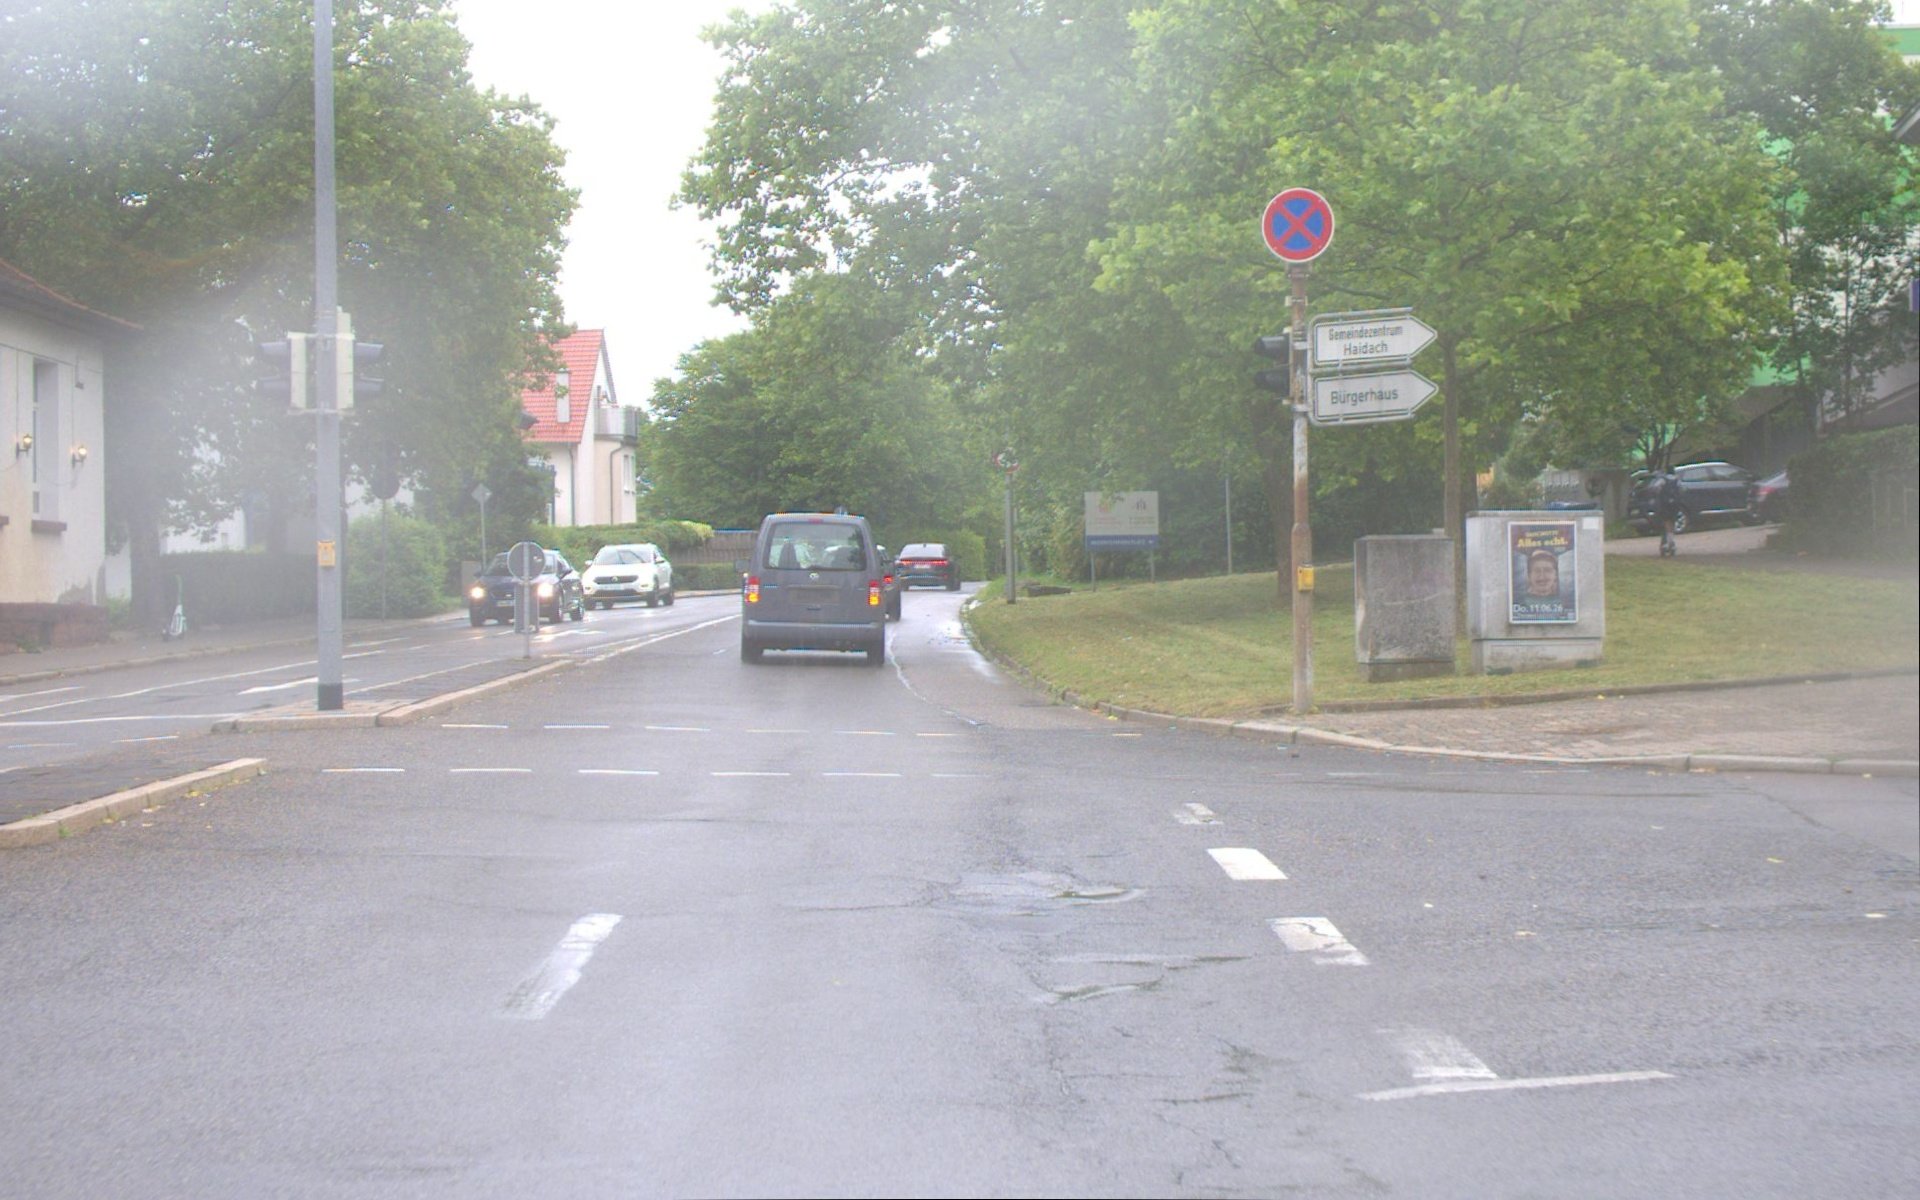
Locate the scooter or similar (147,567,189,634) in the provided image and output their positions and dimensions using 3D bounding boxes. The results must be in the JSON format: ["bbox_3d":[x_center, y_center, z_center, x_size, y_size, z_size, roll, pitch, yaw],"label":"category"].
[{"bbox_3d":[-12.770,0.002,55.460,0.389,1.061,1.410,1,1,-3],"label":"scooter or similar"}]

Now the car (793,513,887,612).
[{"bbox_3d":[-2.264,-0.717,65.340,1.705,1.802,3.685,1,1,-1],"label":"car"}]

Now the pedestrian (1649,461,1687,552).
[{"bbox_3d":[12.611,-1.663,61.247,0.601,1.611,0.525,1,1,8],"label":"pedestrian"}]

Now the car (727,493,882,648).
[{"bbox_3d":[-1.888,-0.377,42.628,1.812,1.802,3.757,1,1,-1],"label":"car"}]

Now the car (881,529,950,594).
[{"bbox_3d":[-1.347,-1.173,104.431,1.993,1.875,4.000,1,1,-1],"label":"car"}]

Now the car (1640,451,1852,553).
[{"bbox_3d":[15.547,-1.930,68.190,3.989,1.924,1.999,1,1,11],"label":"car"}]

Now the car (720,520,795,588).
[{"bbox_3d":[-5.270,-1.213,89.725,1.747,1.666,3.708,-1,2,0],"label":"car"}]

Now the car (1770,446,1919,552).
[{"bbox_3d":[16.477,-1.769,60.935,3.988,1.809,1.999,1,1,10],"label":"car"}]

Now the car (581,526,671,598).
[{"bbox_3d":[-8.205,-0.960,84.709,1.830,1.666,4.051,-1,2,0],"label":"car"}]

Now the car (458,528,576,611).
[{"bbox_3d":[-8.694,-0.628,67.721,1.793,1.522,4.209,-1,2,0],"label":"car"}]

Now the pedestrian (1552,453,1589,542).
[{"bbox_3d":[12.285,-2.054,69.205,0.557,1.757,0.728,1,1,-3],"label":"pedestrian"}]
